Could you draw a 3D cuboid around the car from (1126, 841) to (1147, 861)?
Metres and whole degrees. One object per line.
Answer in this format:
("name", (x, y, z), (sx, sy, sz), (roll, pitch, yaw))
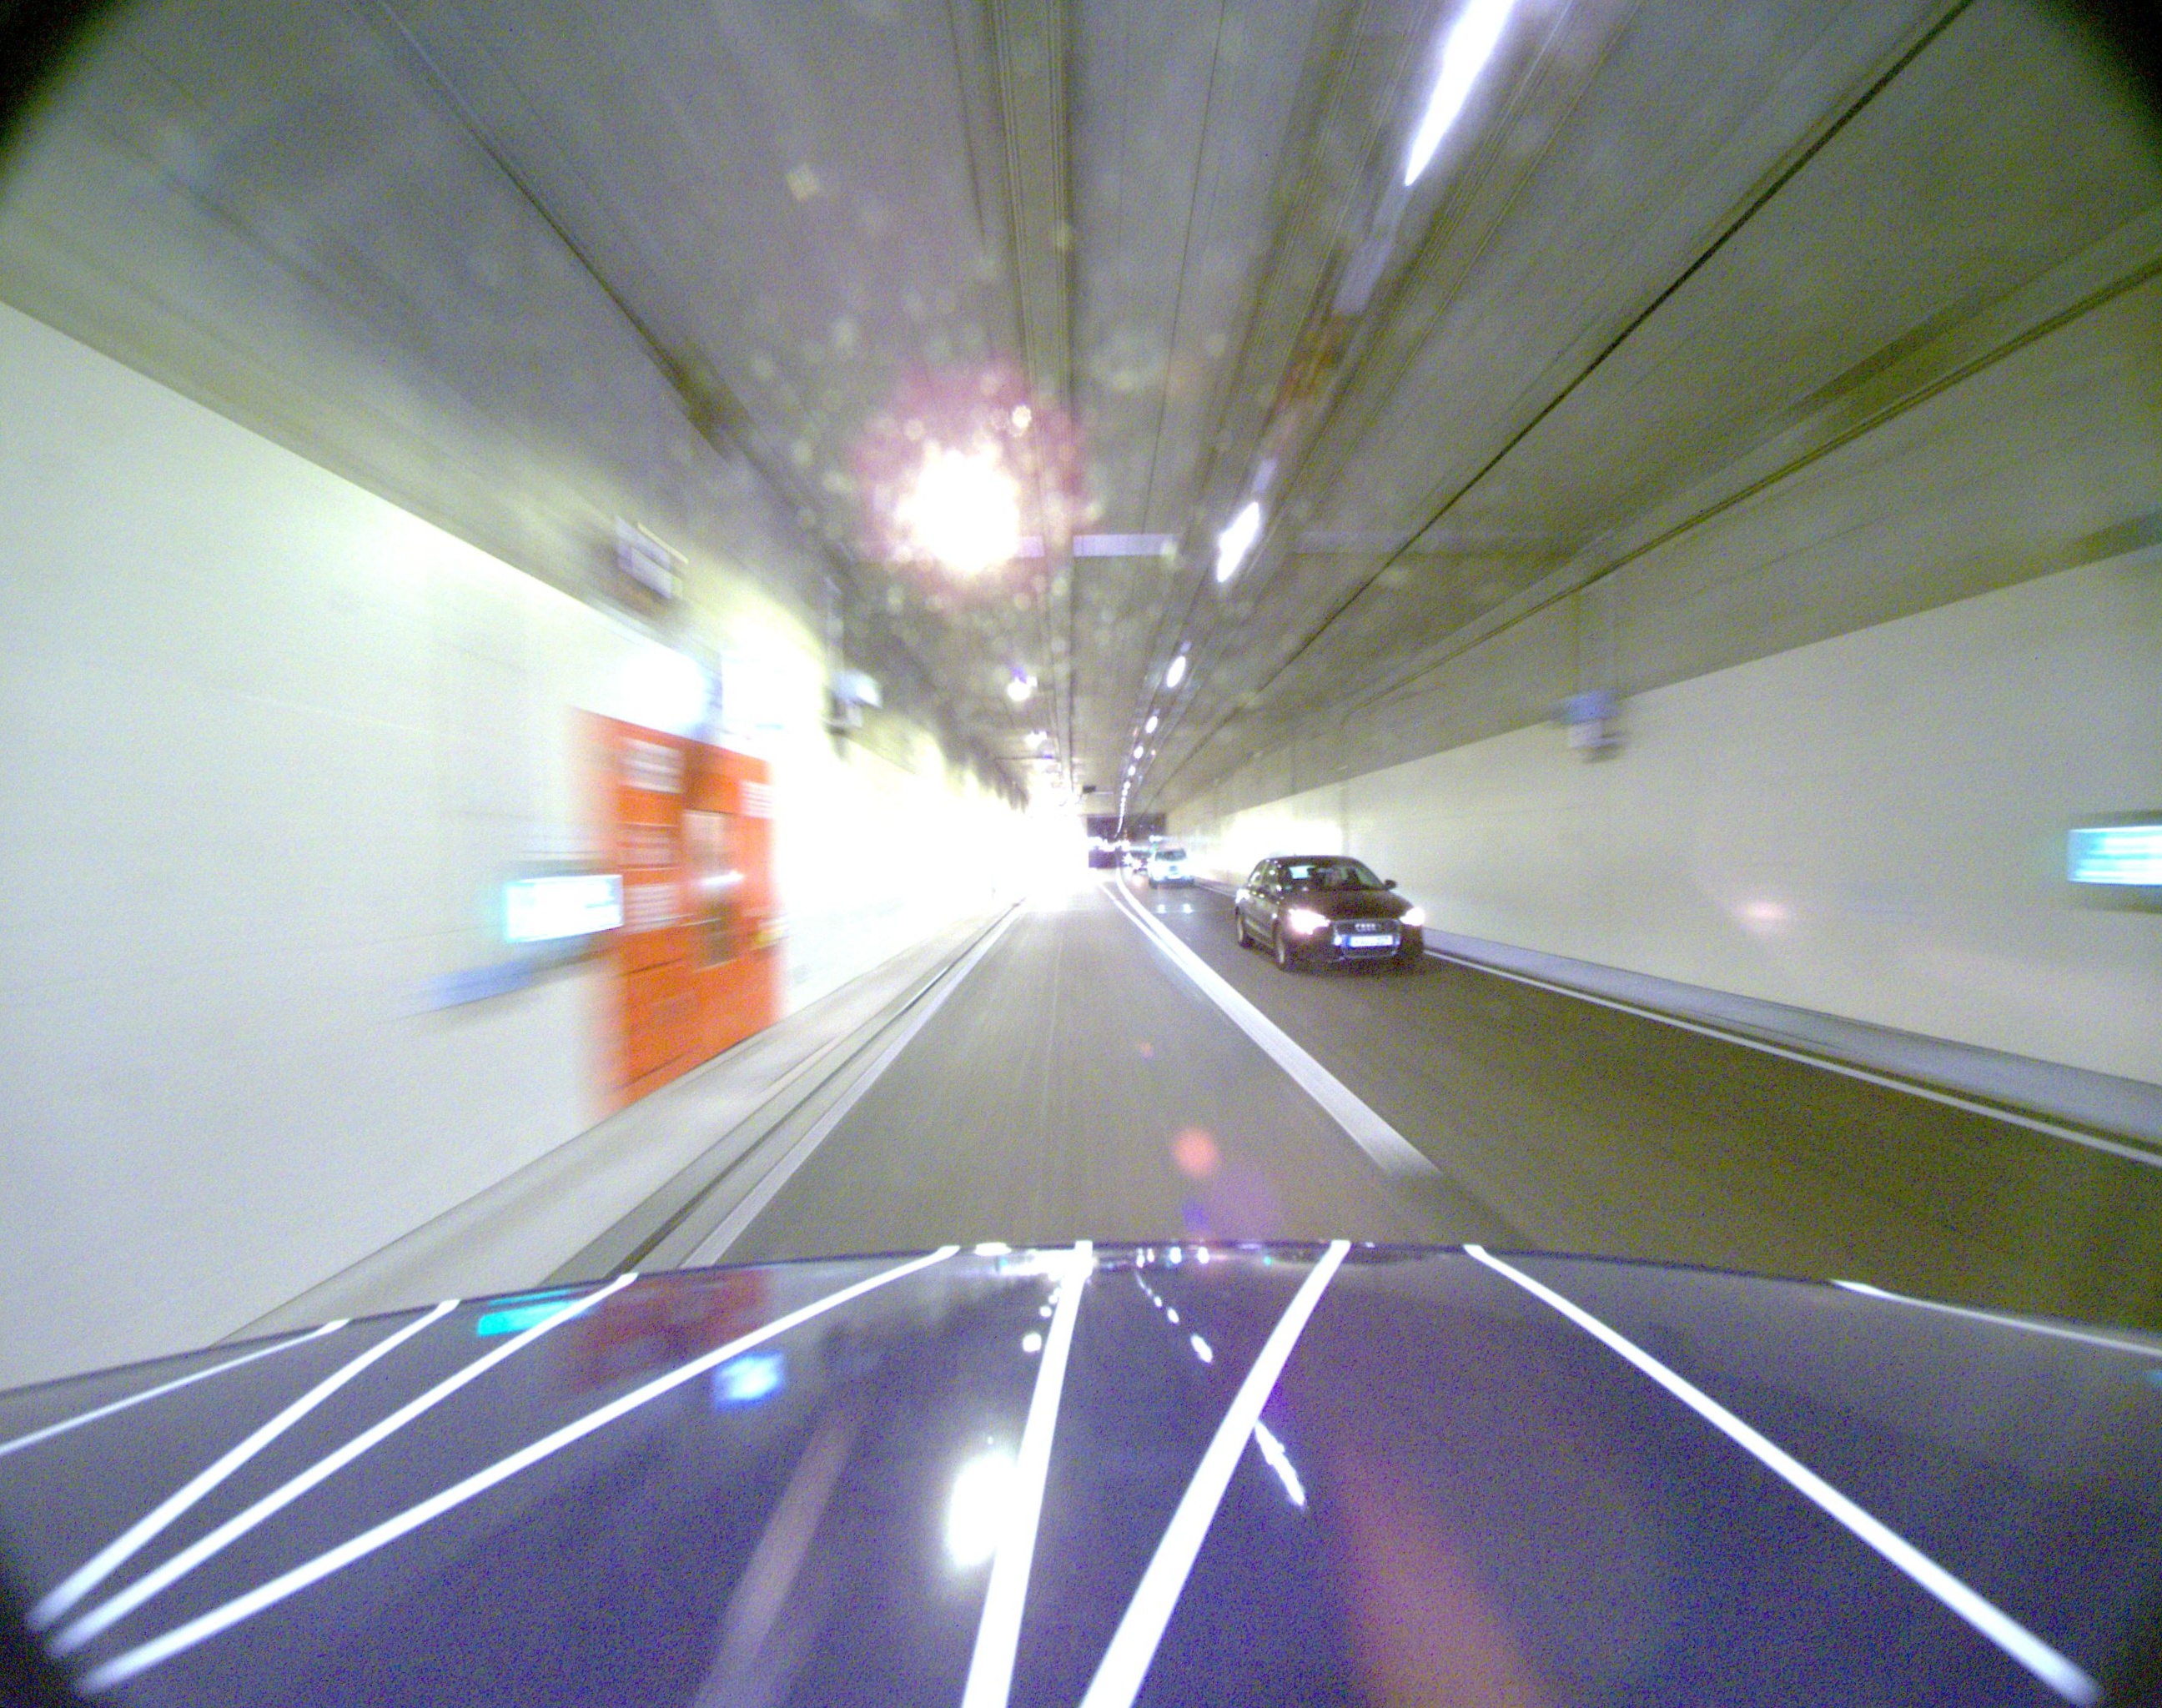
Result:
("car", (5.894, -0.352, 80.976), (1.998, 2.002, 3.999), (-2, 1, 1))

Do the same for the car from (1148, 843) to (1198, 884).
("car", (3.951, 0.403, 33.228), (1.854, 1.658, 3.971), (-1, 0, 2))

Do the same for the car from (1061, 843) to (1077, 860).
("car", (-1.446, -0.303, 93.740), (1.785, 2.002, 3.909), (-2, 1, 2))

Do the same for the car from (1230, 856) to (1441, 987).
("car", (3.258, 0.773, 10.555), (1.699, 1.410, 3.888), (-2, 0, 2))

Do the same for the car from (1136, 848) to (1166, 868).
("car", (5.178, 0.305, 56.988), (1.998, 1.407, 4.001), (-2, -1, 2))
